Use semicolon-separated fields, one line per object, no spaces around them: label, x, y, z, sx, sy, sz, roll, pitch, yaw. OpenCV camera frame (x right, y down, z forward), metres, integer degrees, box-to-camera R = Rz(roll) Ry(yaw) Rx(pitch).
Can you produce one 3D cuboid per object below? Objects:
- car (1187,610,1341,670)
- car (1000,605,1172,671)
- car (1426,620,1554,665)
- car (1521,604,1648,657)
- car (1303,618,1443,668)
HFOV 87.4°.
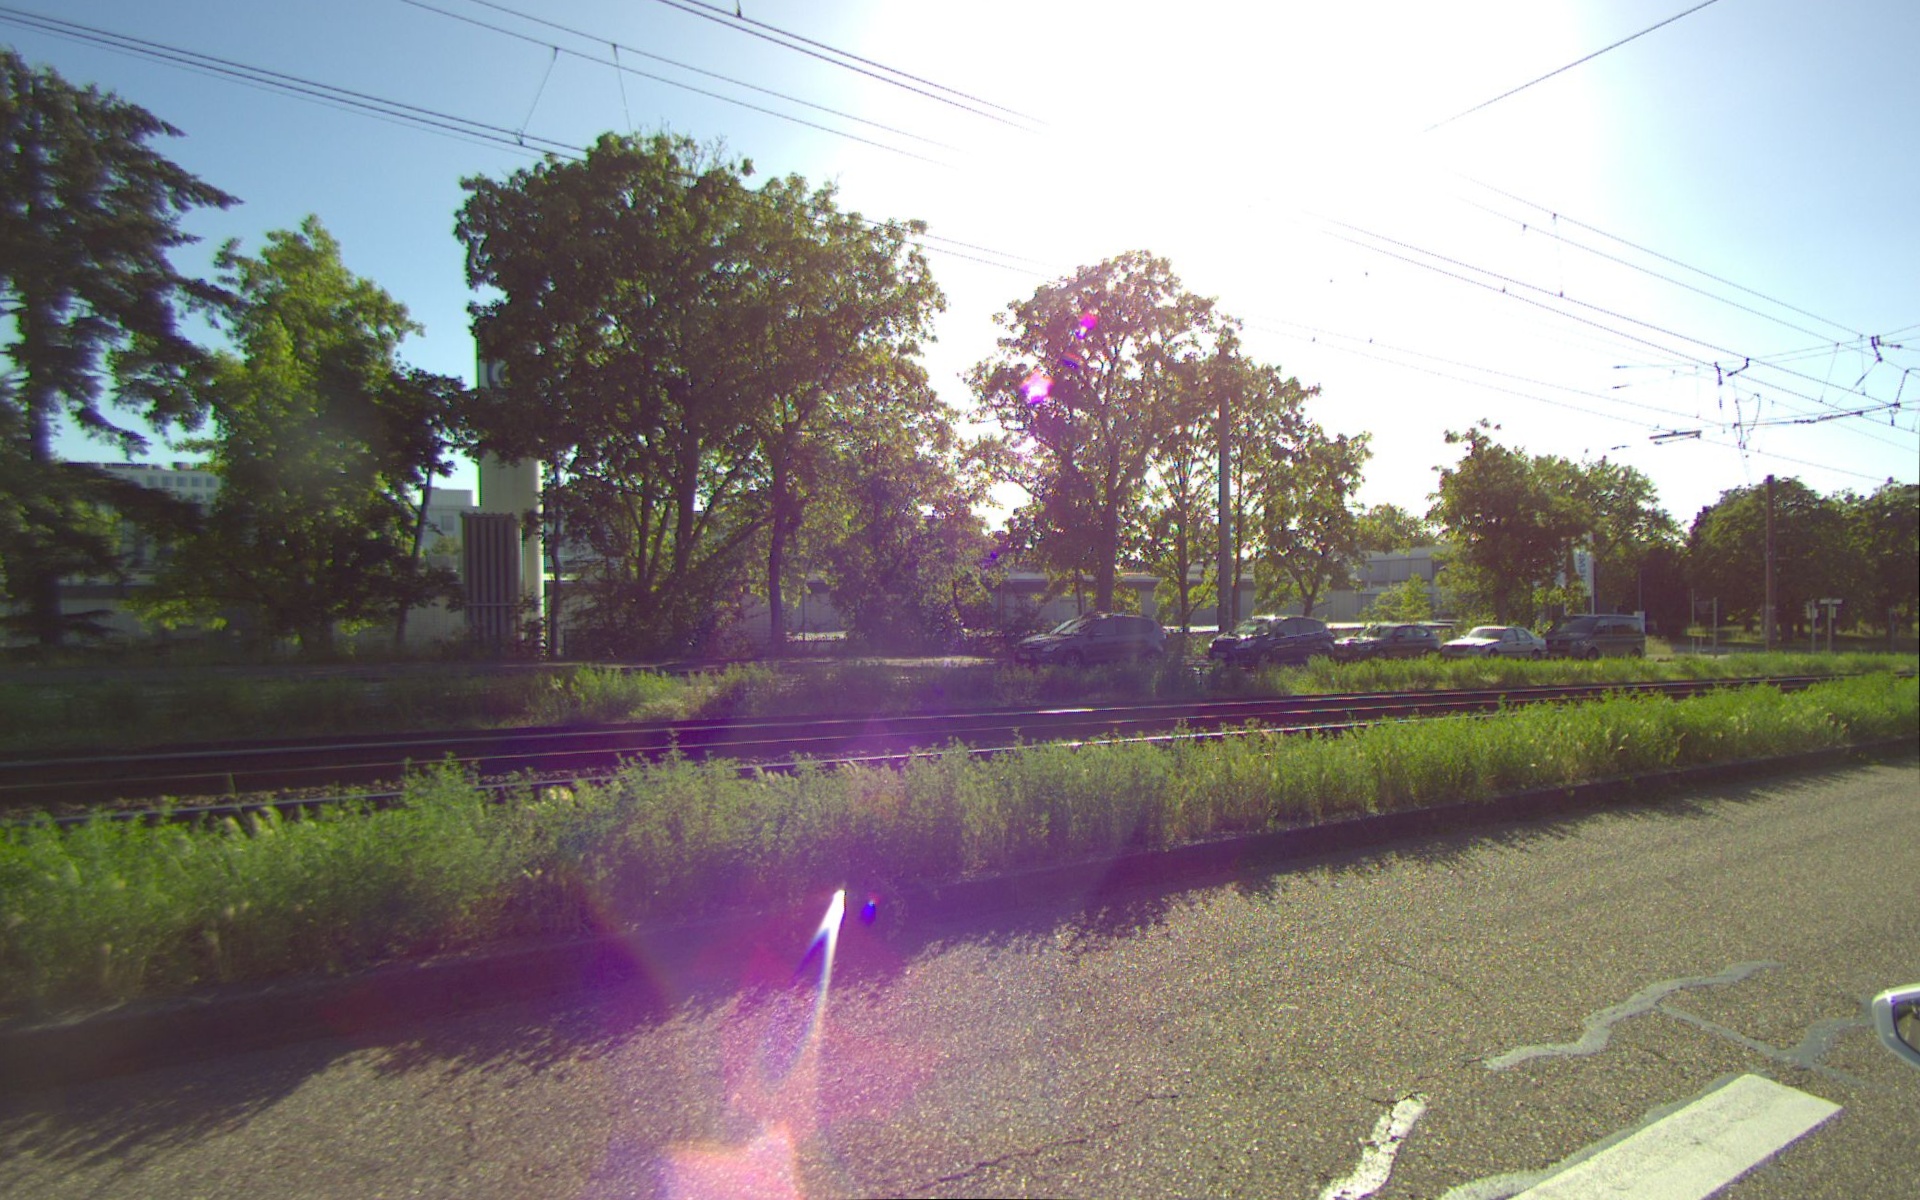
car;8.949;1.141;29.473;4.387;1.595;1.982;1;0;-33
car;3.301;0.978;25.957;4.282;1.514;1.725;2;1;-33
car;18.910;1.482;35.773;4.641;1.457;1.918;1;0;-31
car;24.284;1.176;39.053;4.733;1.916;2.187;1;0;-29
car;13.338;1.348;32.378;4.364;1.457;1.983;1;0;-31
